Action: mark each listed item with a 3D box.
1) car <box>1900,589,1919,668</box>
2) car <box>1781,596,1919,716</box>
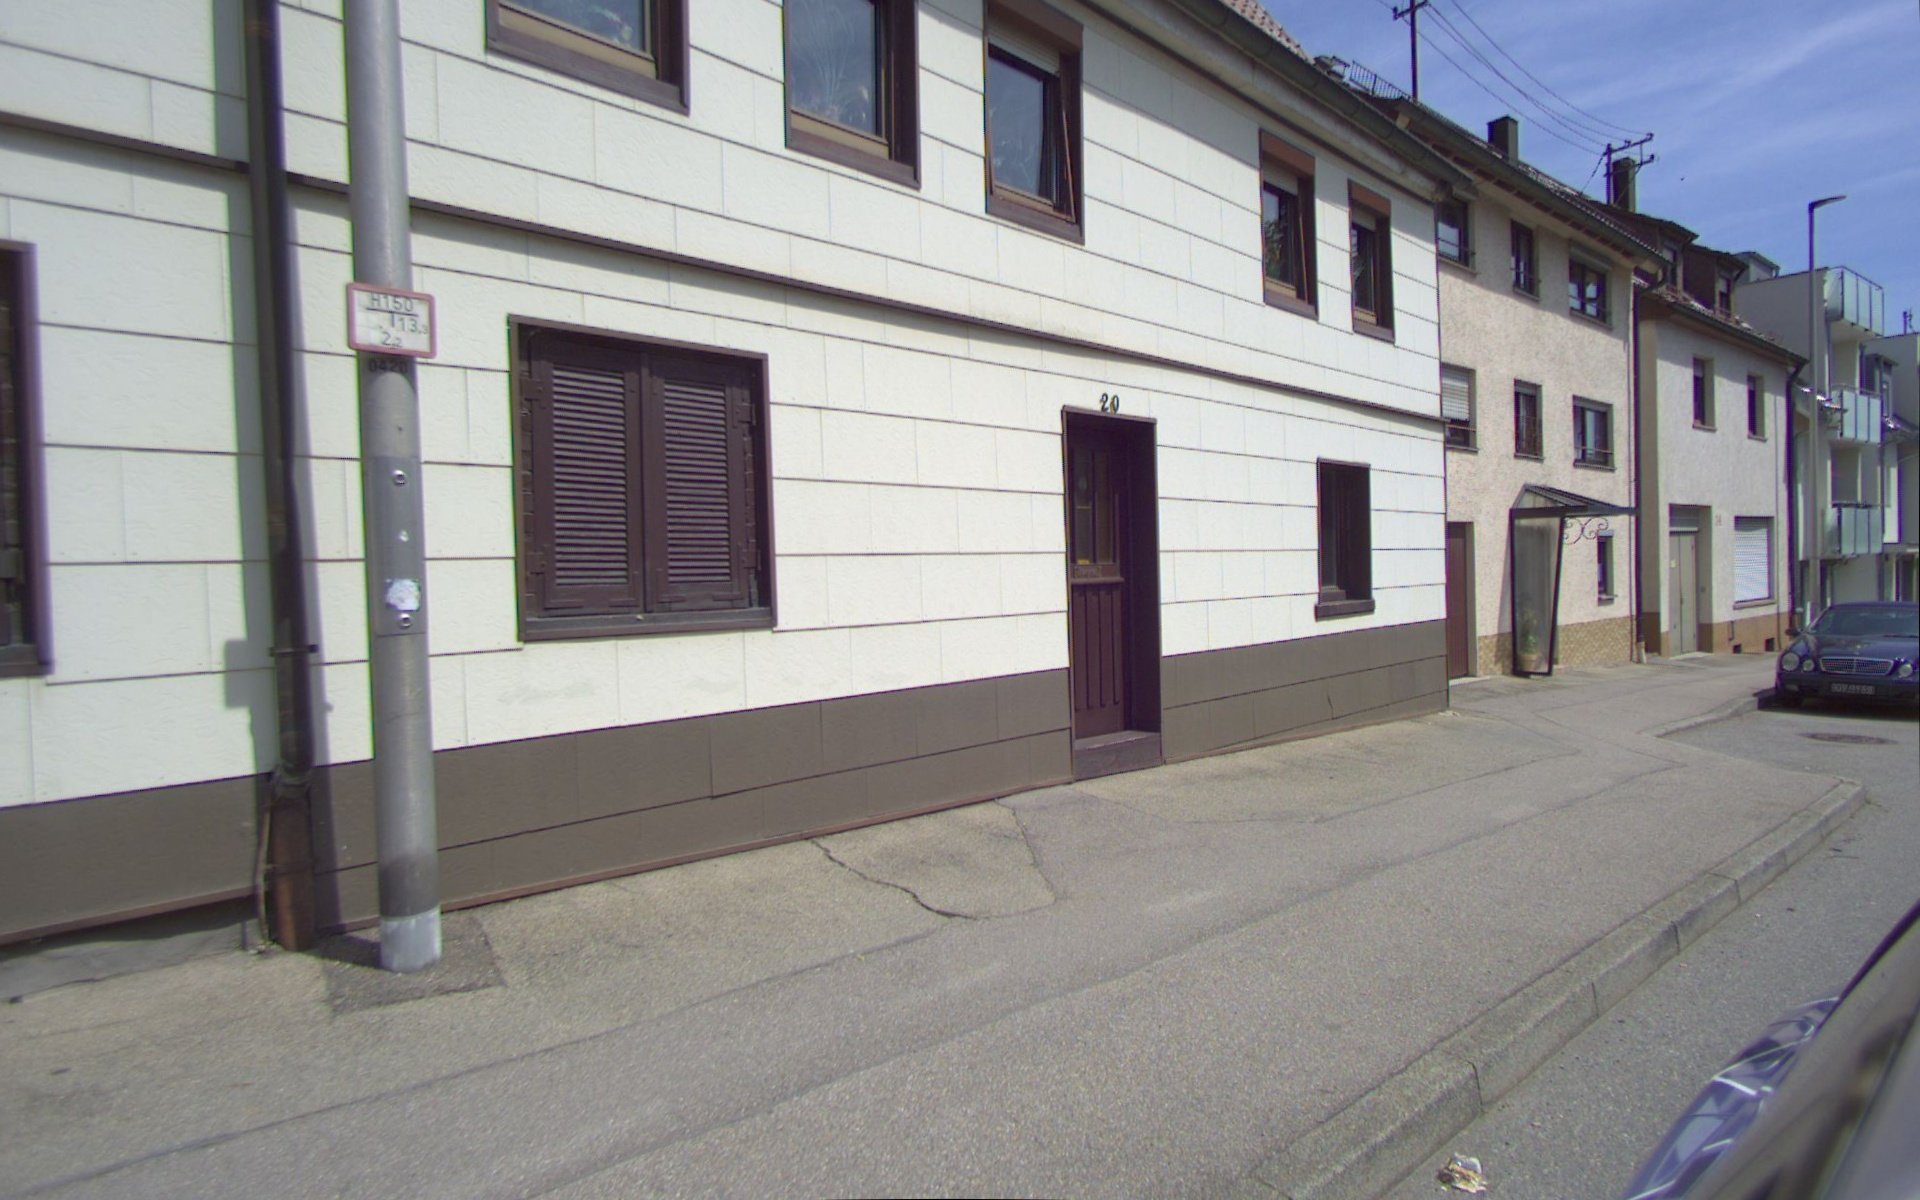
[{"bbox_3d":[19.329,0.527,19.022,4.332,1.420,1.798,0,2,-39],"label":"car"},{"bbox_3d":[12.331,0.638,13.350,4.114,1.369,1.668,0,0,-41],"label":"car"}]
